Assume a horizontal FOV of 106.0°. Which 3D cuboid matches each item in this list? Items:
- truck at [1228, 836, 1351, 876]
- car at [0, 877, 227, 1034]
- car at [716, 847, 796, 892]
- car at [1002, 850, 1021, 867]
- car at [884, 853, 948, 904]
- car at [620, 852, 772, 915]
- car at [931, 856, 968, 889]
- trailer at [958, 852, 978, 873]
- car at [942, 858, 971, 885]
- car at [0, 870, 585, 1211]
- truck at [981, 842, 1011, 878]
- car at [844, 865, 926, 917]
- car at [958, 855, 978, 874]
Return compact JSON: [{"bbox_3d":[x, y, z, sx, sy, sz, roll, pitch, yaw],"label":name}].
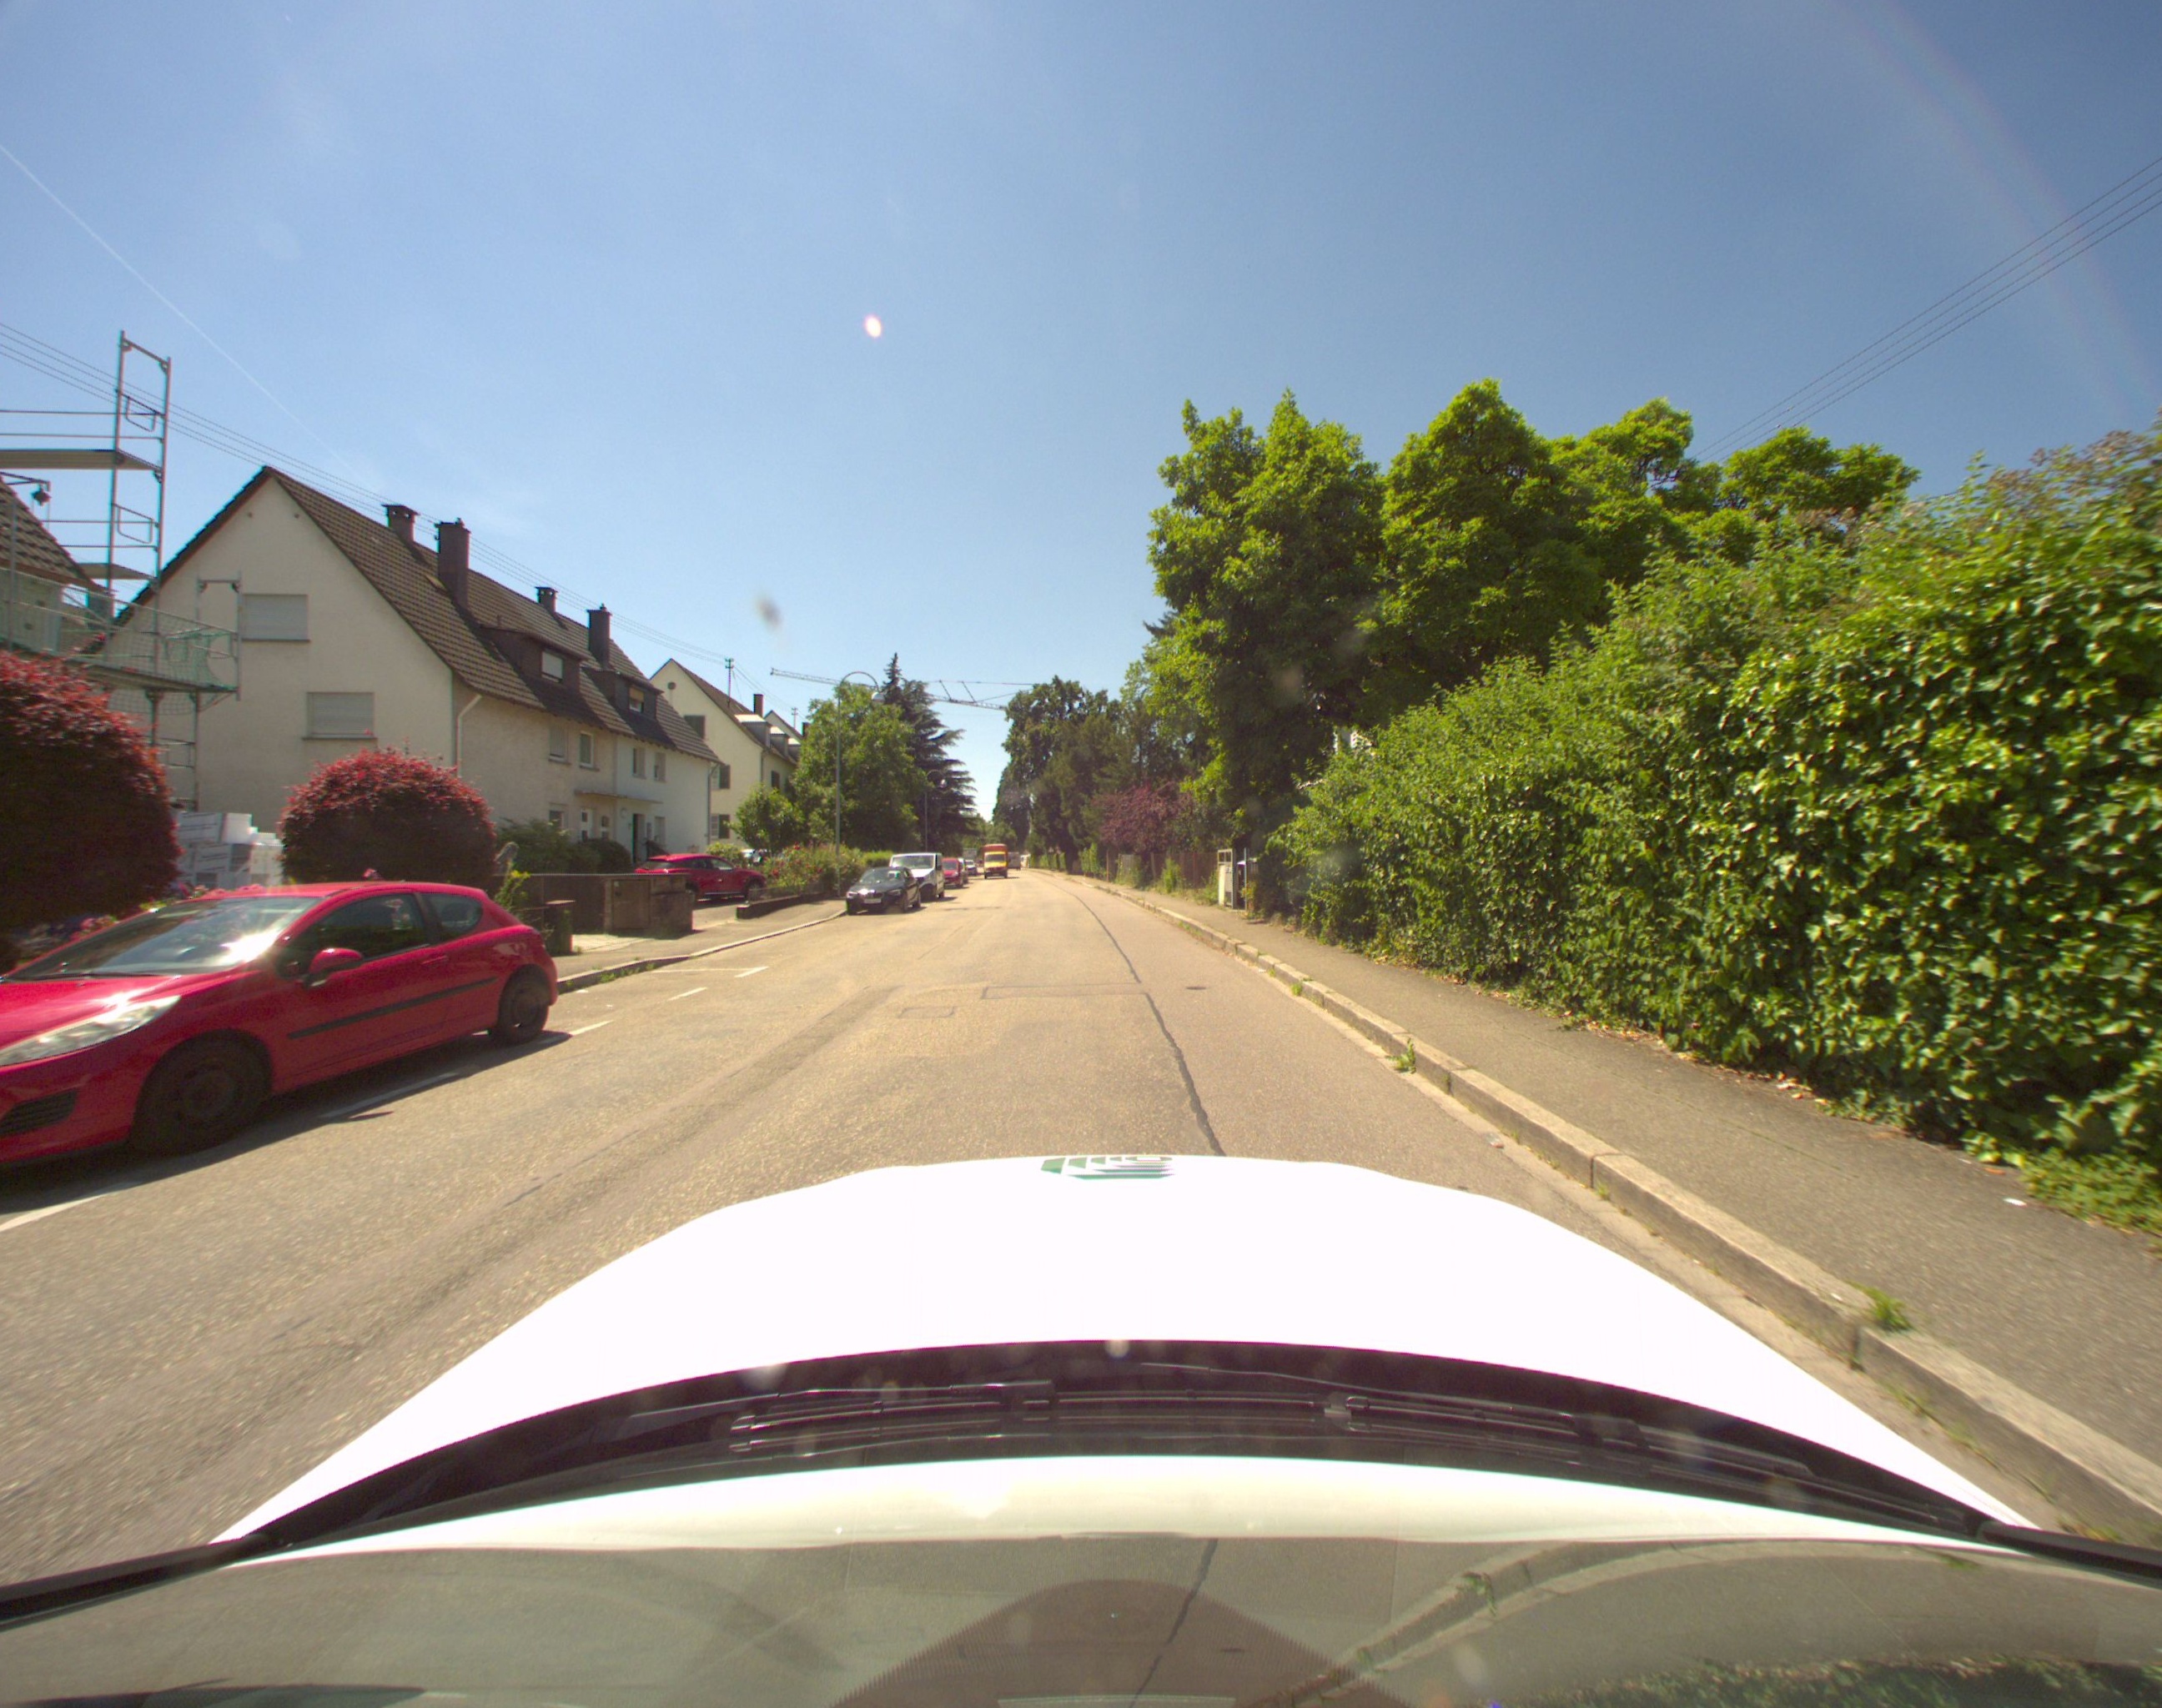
[{"bbox_3d":[11.969,0.111,46.936,6.607,2.167,1.974,1,1,-9],"label":"truck"},{"bbox_3d":[-12.310,1.115,8.901,1.680,1.514,3.998,3,0,-1],"label":"car"},{"bbox_3d":[-14.438,0.674,36.410,1.707,1.870,4.004,1,-1,4],"label":"car"},{"bbox_3d":[-10.018,0.614,117.184,2.144,2.315,4.834,-2,0,-11],"label":"car"},{"bbox_3d":[-6.661,0.949,33.335,1.883,1.881,4.973,-2,-1,-4],"label":"car"},{"bbox_3d":[-11.558,0.815,24.781,1.628,1.511,4.136,2,3,23],"label":"car"},{"bbox_3d":[-7.480,1.013,46.718,1.755,1.727,4.449,-3,0,-6],"label":"car"},{"bbox_3d":[-11.816,0.881,85.248,1.846,2.040,4.151,-3,0,-8],"label":"trailer"},{"bbox_3d":[-8.672,1.181,57.123,1.645,1.752,4.347,-2,0,-5],"label":"car"},{"bbox_3d":[-5.738,0.947,5.802,1.754,1.477,4.059,-3,0,1],"label":"car"},{"bbox_3d":[-7.333,0.515,69.902,2.371,2.830,5.645,-2,0,-7],"label":"truck"},{"bbox_3d":[-6.157,1.118,26.052,1.695,1.384,4.231,-3,0,-3],"label":"car"},{"bbox_3d":[-11.202,1.031,80.843,1.850,1.671,4.699,-3,0,-8],"label":"car"}]
